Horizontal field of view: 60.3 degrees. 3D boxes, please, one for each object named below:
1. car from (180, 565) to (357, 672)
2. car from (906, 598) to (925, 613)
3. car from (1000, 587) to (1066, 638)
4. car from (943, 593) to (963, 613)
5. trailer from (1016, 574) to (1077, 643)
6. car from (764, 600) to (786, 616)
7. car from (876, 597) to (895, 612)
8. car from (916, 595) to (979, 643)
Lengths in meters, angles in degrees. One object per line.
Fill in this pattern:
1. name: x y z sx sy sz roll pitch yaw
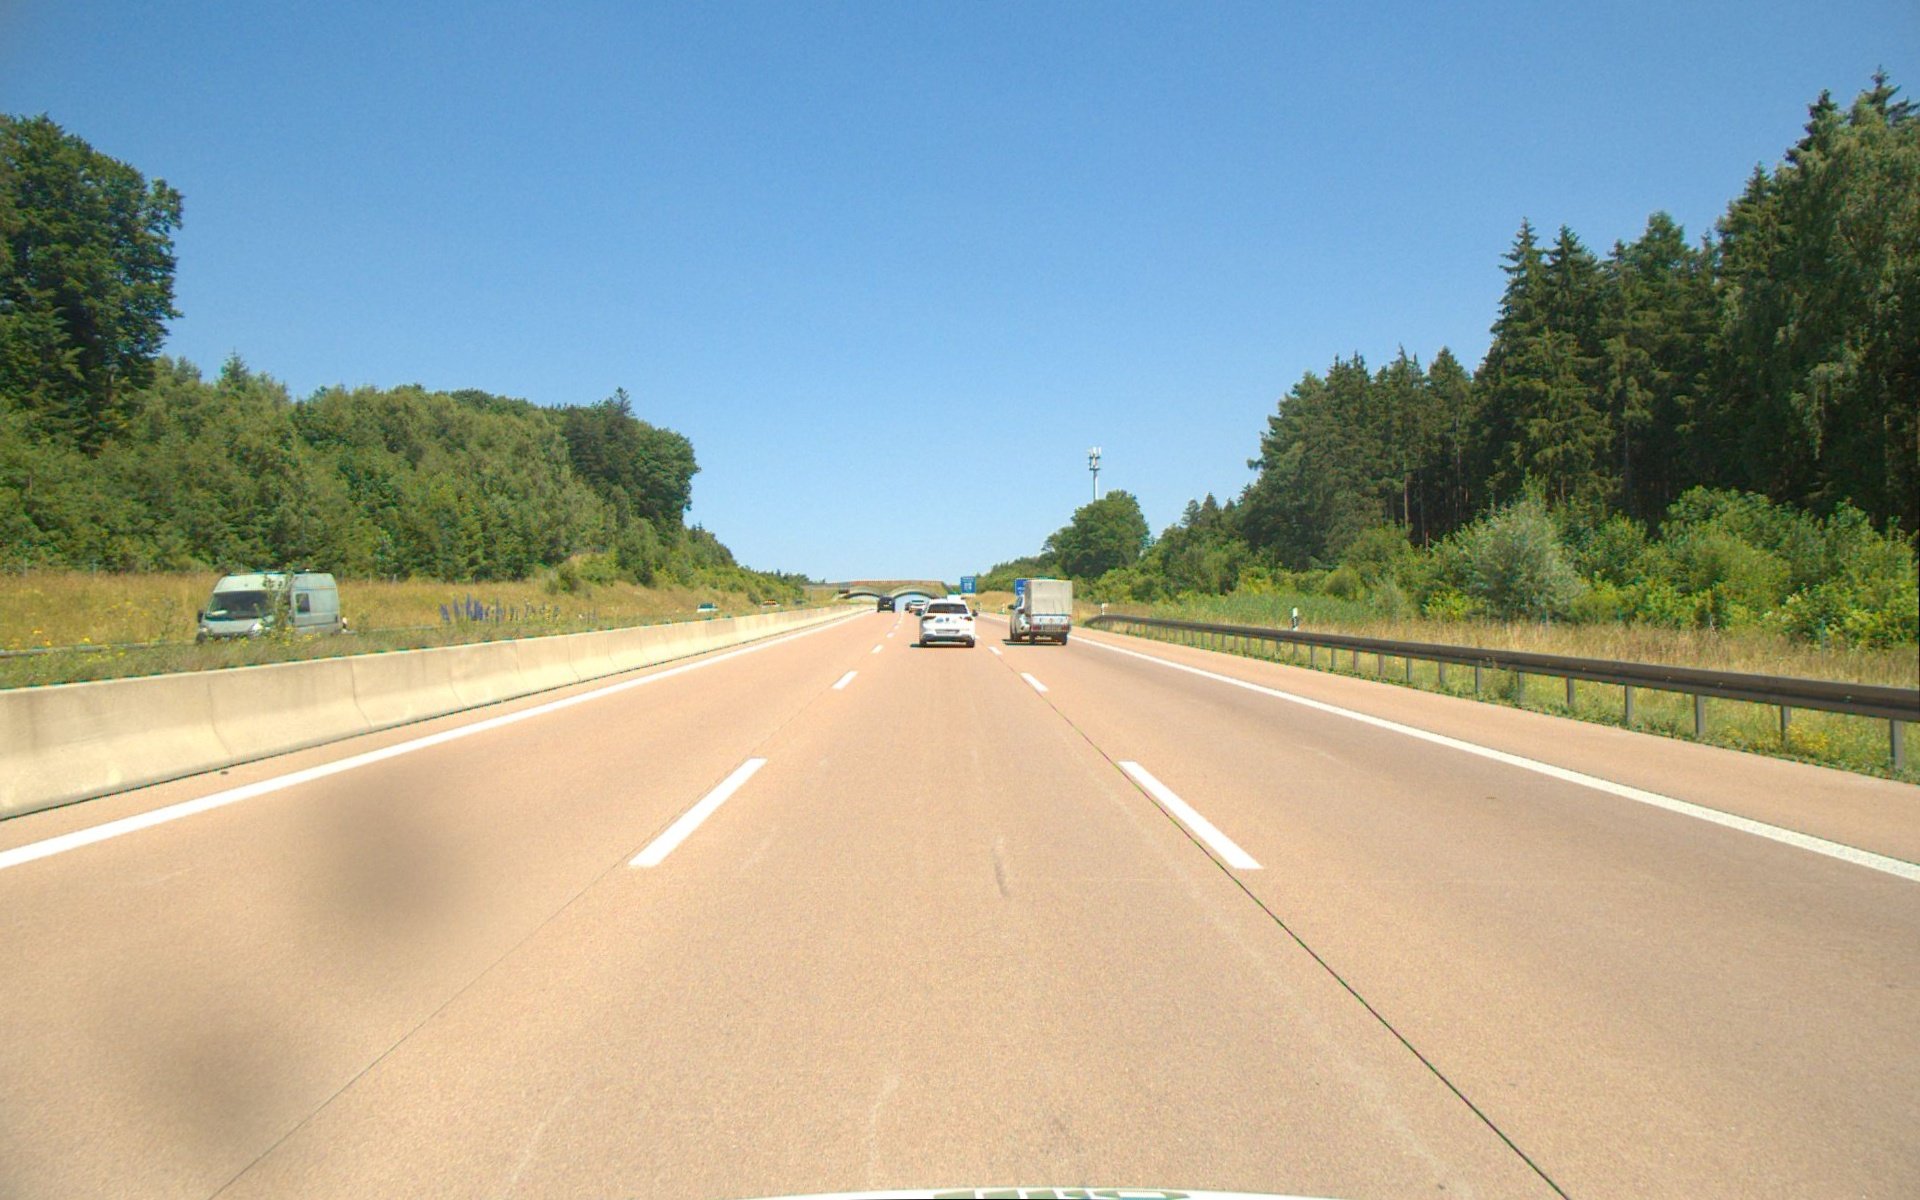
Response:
1. car: -18.871 0.453 45.586 2.188 2.733 6.885 0 0 -2
2. car: -4.533 0.568 168.152 1.852 1.489 3.999 1 0 -1
3. car: 2.576 0.443 59.463 1.853 1.758 5.183 0 0 -3
4. car: -0.764 0.280 175.236 2.067 2.090 4.000 0 0 0
5. trailer: 2.840 0.271 54.943 1.624 2.202 4.013 0 0 -3
6. car: -18.843 0.778 168.497 1.852 1.621 4.462 0 0 -2
7. car: -7.833 0.461 173.874 1.852 1.489 4.000 0 0 0
8. car: -0.433 0.574 51.735 1.853 1.422 3.998 1 0 -2
